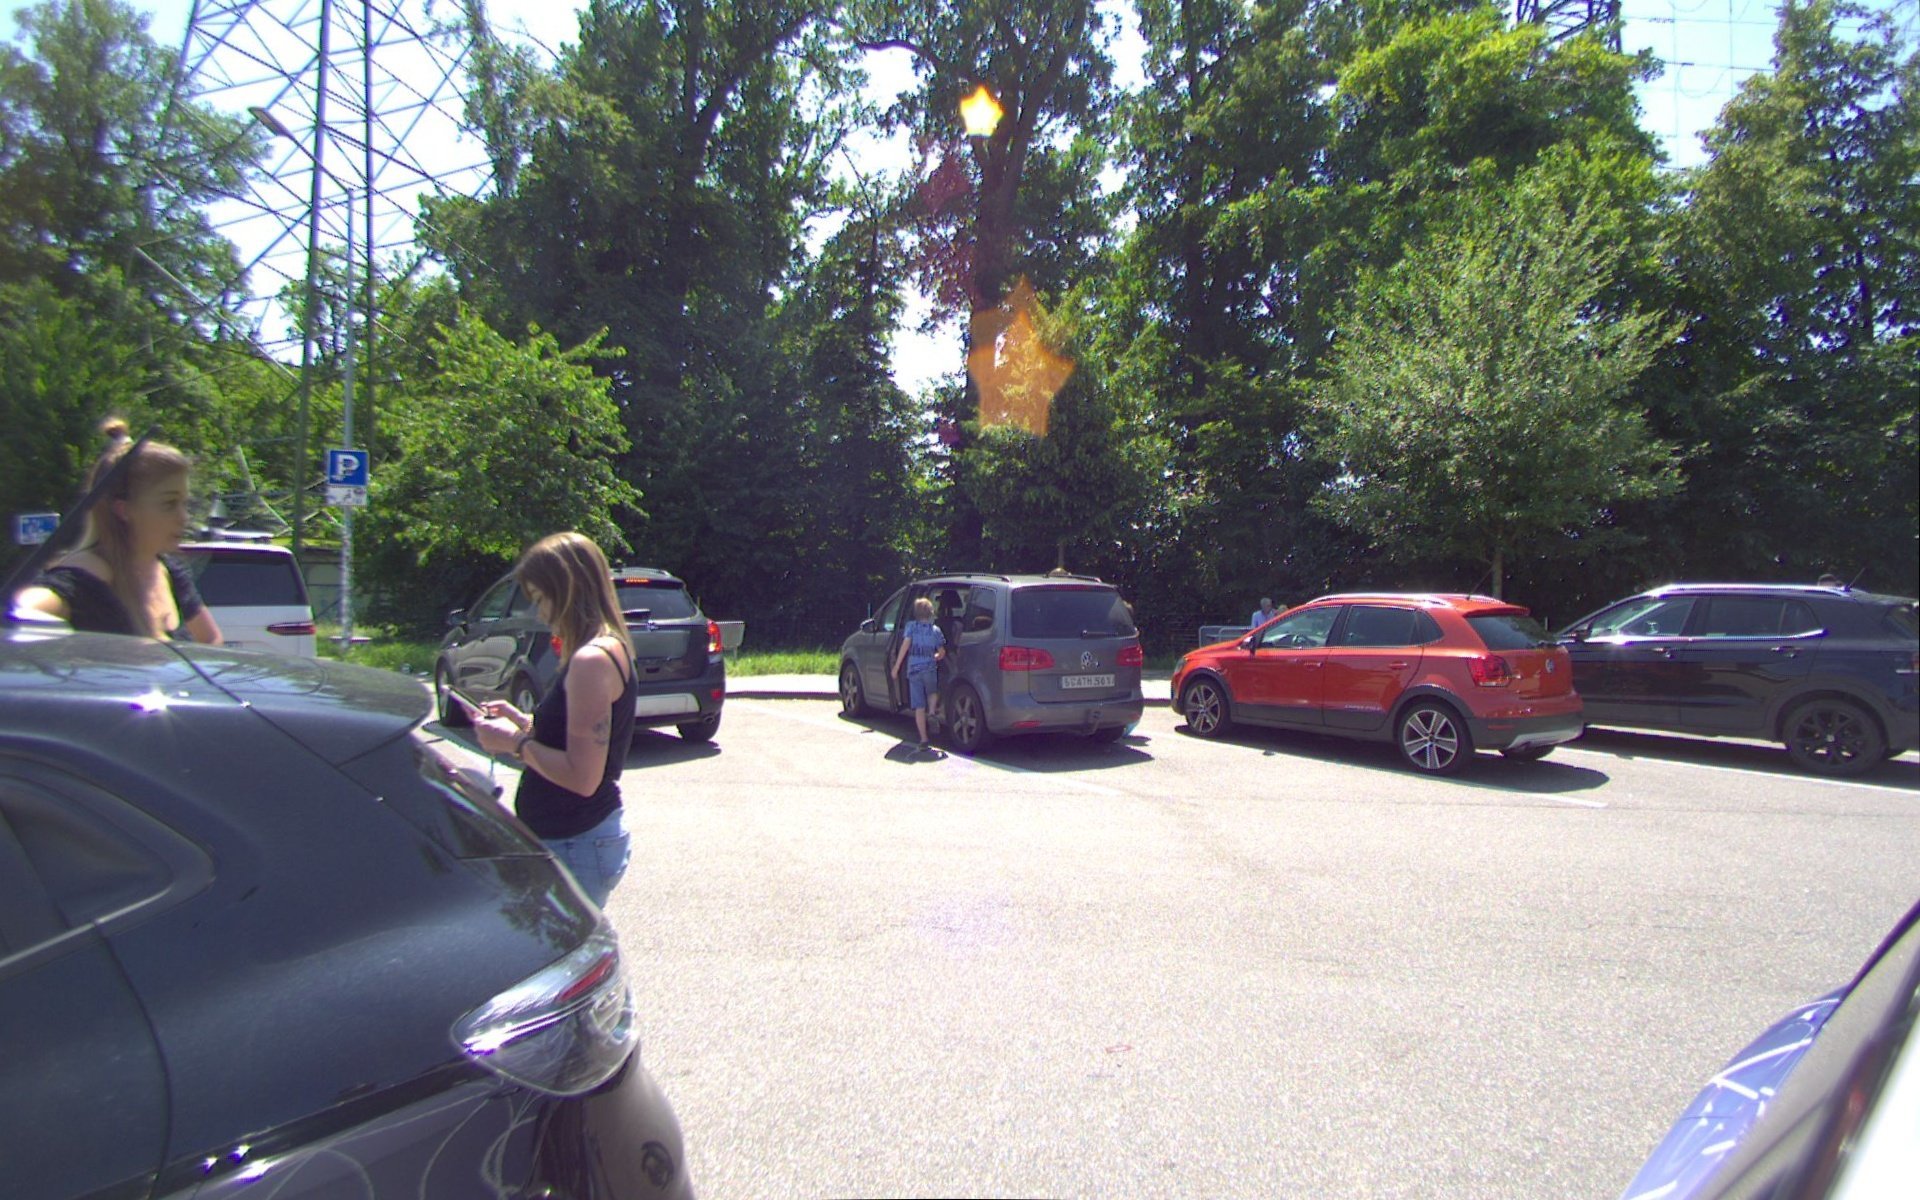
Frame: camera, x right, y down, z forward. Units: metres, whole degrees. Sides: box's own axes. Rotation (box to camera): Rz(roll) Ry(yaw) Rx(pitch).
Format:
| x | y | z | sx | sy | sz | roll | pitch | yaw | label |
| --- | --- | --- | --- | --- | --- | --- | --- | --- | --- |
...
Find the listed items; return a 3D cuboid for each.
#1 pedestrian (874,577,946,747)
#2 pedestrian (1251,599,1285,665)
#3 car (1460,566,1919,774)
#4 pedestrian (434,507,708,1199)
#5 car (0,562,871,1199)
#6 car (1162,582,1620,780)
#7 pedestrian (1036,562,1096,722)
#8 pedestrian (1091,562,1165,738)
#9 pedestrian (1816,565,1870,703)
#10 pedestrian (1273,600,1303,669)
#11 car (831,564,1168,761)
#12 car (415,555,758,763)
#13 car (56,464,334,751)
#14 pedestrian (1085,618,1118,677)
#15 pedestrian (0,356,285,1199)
| x | y | z | sx | sy | sz | roll | pitch | yaw | label |
| --- | --- | --- | --- | --- | --- | --- | --- | --- | --- |
| -0.469 | 0.551 | 9.422 | 0.510 | 1.516 | 0.561 | 0 | 0 | -21 | pedestrian |
| 5.807 | 0.592 | 19.078 | 0.433 | 1.207 | 0.414 | 0 | 0 | -30 | pedestrian |
| 7.151 | 0.548 | 9.736 | 1.679 | 1.637 | 3.863 | 1 | 0 | -40 | car |
| -0.993 | 0.601 | 2.581 | 0.477 | 1.614 | 0.502 | 1 | -1 | -44 | pedestrian |
| -2.016 | 0.715 | 0.788 | 1.776 | 1.476 | 3.627 | 0 | 1 | 44 | car |
| 3.853 | 0.609 | 9.627 | 1.588 | 1.485 | 3.751 | 1 | 0 | -34 | car |
| 1.187 | 0.458 | 11.362 | 0.500 | 1.744 | 0.438 | 0 | 0 | -24 | pedestrian |
| 1.717 | 0.490 | 10.347 | 0.576 | 1.744 | 0.483 | 0 | 0 | -20 | pedestrian |
| 12.964 | 0.480 | 14.870 | 0.570 | 1.979 | 0.425 | 0 | -1 | 38 | pedestrian |
| 5.812 | 0.602 | 17.931 | 0.348 | 1.207 | 0.367 | 0 | 0 | -20 | pedestrian |
| 0.202 | 0.509 | 10.523 | 1.670 | 1.637 | 3.912 | 0 | 0 | -30 | car |
| -3.902 | 0.459 | 10.150 | 1.807 | 1.637 | 4.159 | 1 | 0 | -42 | car |
| -8.434 | 0.055 | 10.946 | 1.897 | 2.400 | 4.963 | 1 | -1 | -43 | car |
| 2.212 | 0.729 | 15.795 | 0.494 | 0.890 | 0.512 | 0 | 0 | 10 | pedestrian |
| -1.906 | 0.481 | 2.385 | 0.478 | 1.883 | 0.913 | 1 | -1 | -33 | pedestrian |
